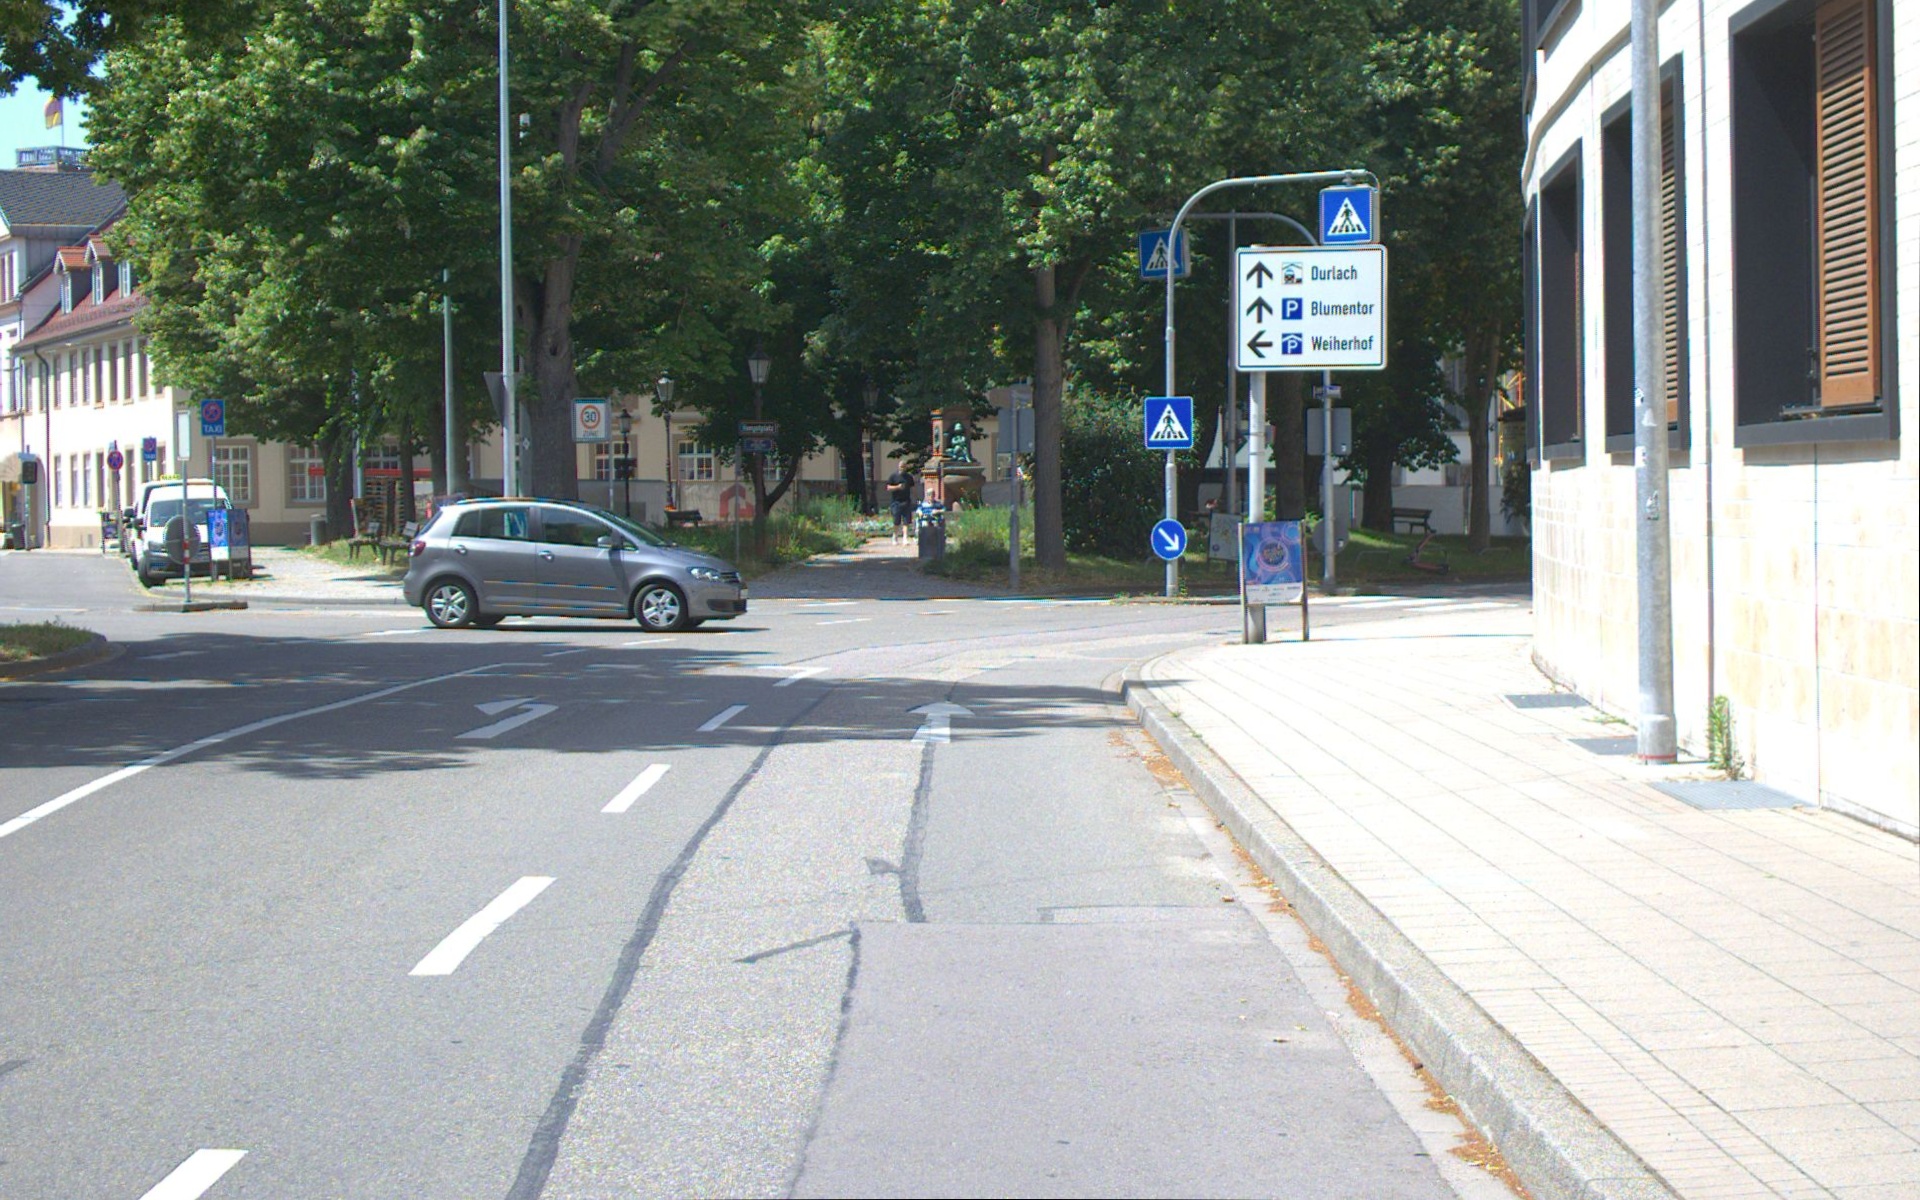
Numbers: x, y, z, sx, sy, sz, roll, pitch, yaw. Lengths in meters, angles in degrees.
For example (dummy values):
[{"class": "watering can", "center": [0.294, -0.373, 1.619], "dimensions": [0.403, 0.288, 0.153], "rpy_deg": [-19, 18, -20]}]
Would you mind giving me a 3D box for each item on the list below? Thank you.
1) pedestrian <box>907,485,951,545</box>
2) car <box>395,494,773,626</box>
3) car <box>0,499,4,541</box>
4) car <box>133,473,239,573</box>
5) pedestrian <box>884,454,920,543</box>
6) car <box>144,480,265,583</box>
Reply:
[{"class": "pedestrian", "center": [-0.666, -1.819, 73.469], "dimensions": [0.906, 1.247, 1.148], "rpy_deg": [0, 3, 1]}, {"class": "car", "center": [-4.564, -0.508, 42.007], "dimensions": [4.231, 1.528, 1.909], "rpy_deg": [1, 2, 10]}, {"class": "car", "center": [-36.029, -2.926, 125.473], "dimensions": [1.860, 1.481, 4.001], "rpy_deg": [-1, 2, -21]}, {"class": "car", "center": [-16.011, -1.630, 71.105], "dimensions": [2.048, 1.995, 5.251], "rpy_deg": [0, 2, -13]}, {"class": "pedestrian", "center": [-1.244, -2.199, 74.204], "dimensions": [0.748, 1.904, 0.684], "rpy_deg": [0, 3, 1]}, {"class": "car", "center": [-13.914, -1.298, 63.134], "dimensions": [1.993, 1.820, 4.424], "rpy_deg": [-1, 2, -15]}]
